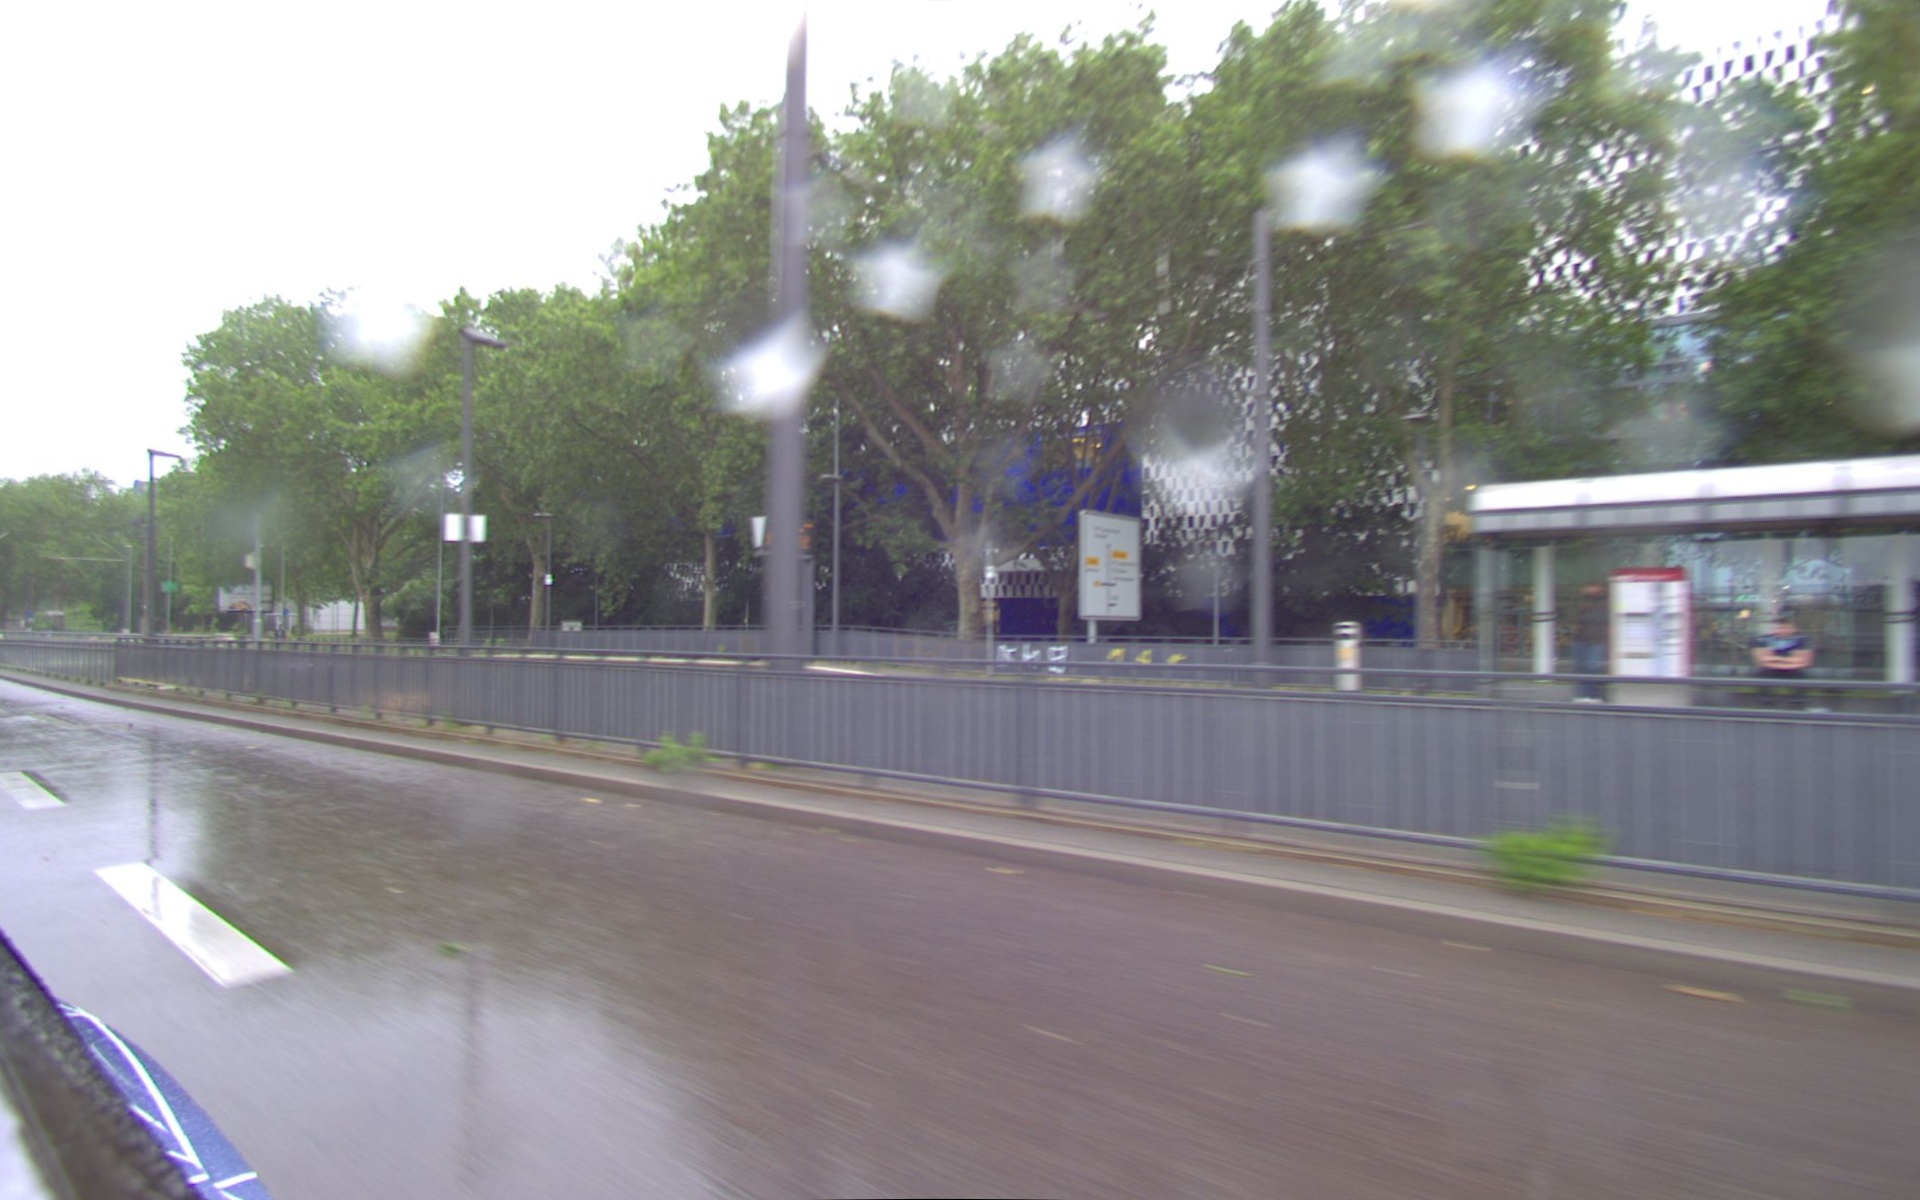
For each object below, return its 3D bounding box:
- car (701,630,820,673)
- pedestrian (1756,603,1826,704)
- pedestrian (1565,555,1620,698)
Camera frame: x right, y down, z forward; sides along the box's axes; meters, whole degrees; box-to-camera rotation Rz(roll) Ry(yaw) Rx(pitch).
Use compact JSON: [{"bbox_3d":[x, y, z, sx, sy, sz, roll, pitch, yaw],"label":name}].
[{"bbox_3d":[-6.945,1.745,35.141,3.994,1.394,1.931,-1,-1,38],"label":"car"},{"bbox_3d":[10.908,0.680,13.286,0.664,1.277,0.487,-1,0,44],"label":"pedestrian"},{"bbox_3d":[9.254,0.377,14.803,0.582,2.029,0.488,-1,0,40],"label":"pedestrian"}]
